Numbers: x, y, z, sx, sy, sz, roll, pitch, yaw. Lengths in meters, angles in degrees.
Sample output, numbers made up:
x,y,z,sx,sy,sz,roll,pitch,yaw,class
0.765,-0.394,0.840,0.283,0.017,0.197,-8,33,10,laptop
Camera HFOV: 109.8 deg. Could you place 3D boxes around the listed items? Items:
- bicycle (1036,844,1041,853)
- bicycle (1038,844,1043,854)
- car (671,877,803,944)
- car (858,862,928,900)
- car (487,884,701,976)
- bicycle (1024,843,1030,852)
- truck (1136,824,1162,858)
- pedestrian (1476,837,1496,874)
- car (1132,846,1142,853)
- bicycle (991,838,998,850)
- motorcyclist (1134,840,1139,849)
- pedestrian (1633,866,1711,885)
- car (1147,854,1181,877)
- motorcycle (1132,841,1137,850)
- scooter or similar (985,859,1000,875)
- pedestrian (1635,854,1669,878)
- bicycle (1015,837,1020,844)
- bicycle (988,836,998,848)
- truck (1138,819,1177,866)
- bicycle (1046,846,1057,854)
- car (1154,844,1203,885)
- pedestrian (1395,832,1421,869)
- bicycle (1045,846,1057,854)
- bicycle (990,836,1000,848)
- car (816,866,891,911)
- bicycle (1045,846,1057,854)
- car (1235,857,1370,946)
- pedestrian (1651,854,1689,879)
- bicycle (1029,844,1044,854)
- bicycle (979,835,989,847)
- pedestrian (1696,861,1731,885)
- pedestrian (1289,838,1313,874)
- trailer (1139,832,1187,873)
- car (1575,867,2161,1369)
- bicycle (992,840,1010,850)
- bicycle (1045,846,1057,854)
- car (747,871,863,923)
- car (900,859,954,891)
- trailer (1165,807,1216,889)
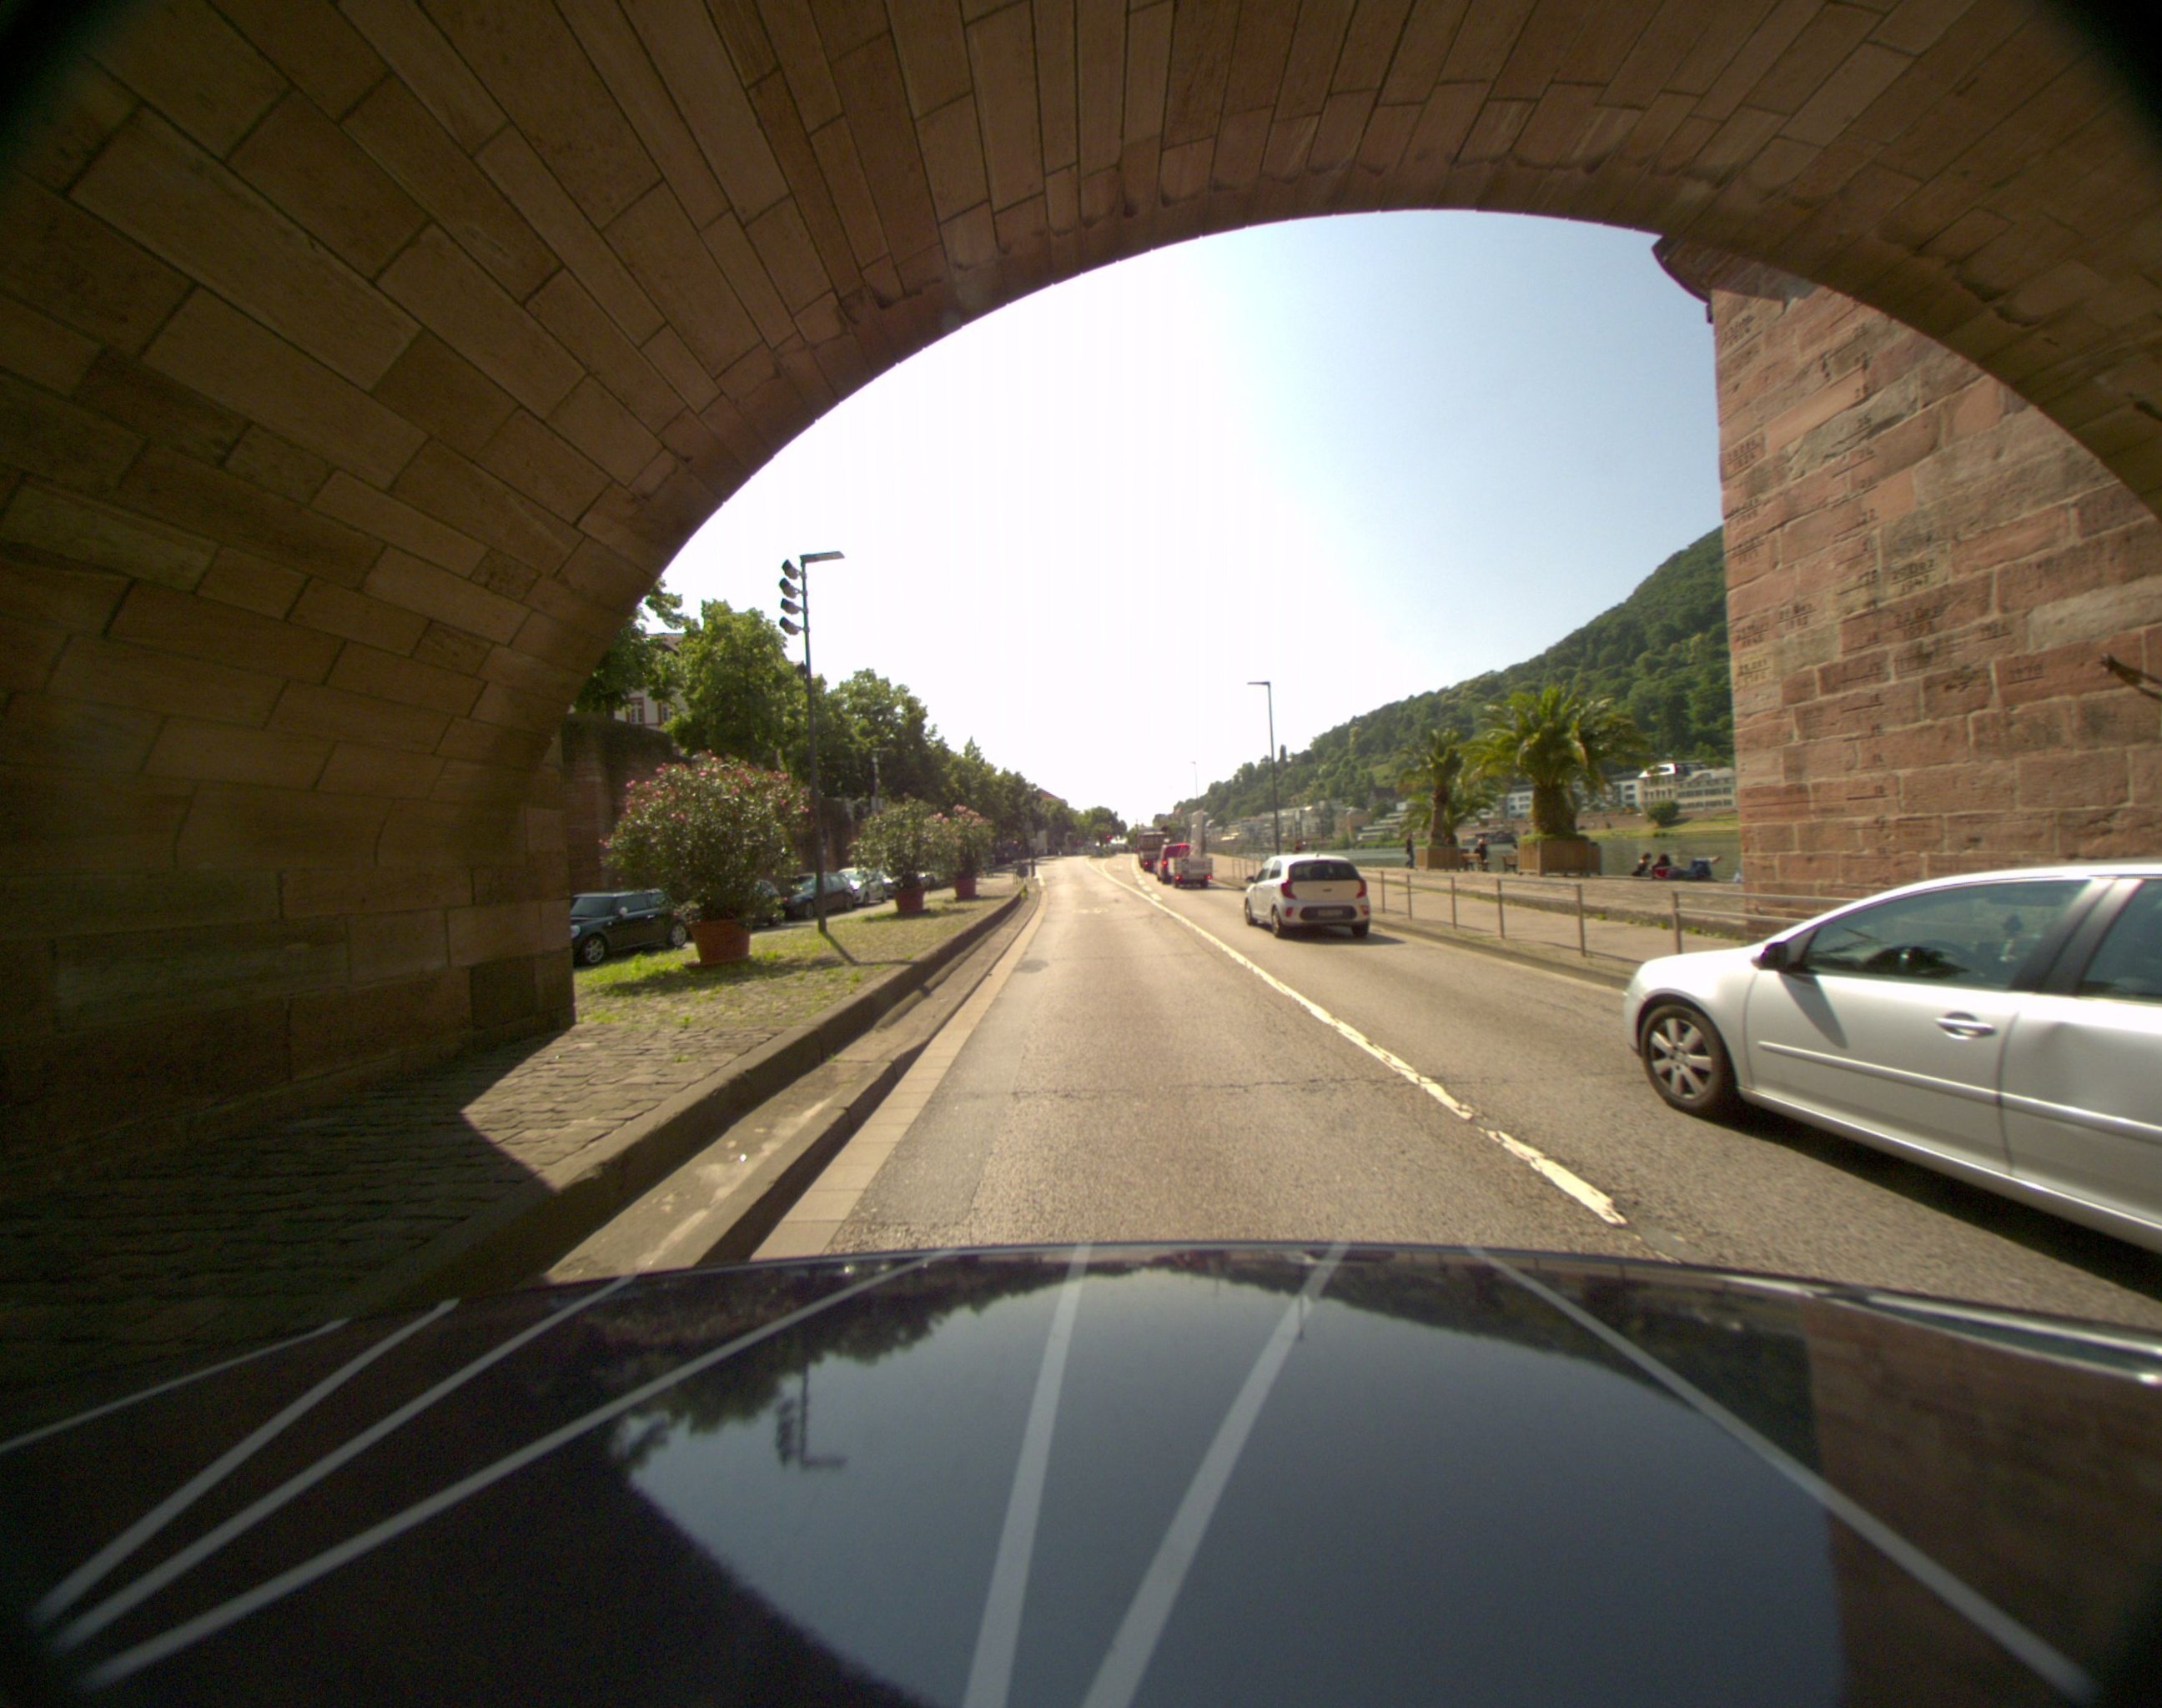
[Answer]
x,y,z,sx,sy,sz,roll,pitch,yaw,class
-5.814,-0.778,103.828,0.476,1.254,2.162,0,1,2,bicycle
-5.655,-0.712,106.084,0.476,1.254,2.162,0,1,2,bicycle
-9.399,1.496,21.090,1.498,1.476,3.717,-3,1,8,car
-8.577,1.200,35.072,1.758,1.424,4.756,-3,1,3,car
-10.306,1.541,16.463,1.594,1.512,3.905,-3,1,10,car
-6.628,-0.785,93.191,0.345,1.106,1.920,-2,1,8,bicycle
7.699,-1.479,85.828,2.648,3.456,11.109,-2,1,5,truck
17.649,0.065,33.105,0.594,1.592,0.681,-3,1,18,pedestrian
12.430,-1.023,169.954,1.998,1.444,4.261,-3,1,2,car
-8.889,-1.031,77.911,0.383,1.133,1.934,-2,0,3,bicycle
8.739,-1.486,118.963,0.703,1.518,0.861,-2,1,6,motorcyclist
14.793,0.534,19.076,0.646,0.419,1.742,-1,0,1,pedestrian
4.907,0.652,45.451,1.675,1.187,3.628,-1,1,1,car
8.375,-1.409,118.821,0.728,1.379,2.512,-2,1,6,motorcycle
-6.151,0.890,52.663,0.532,1.083,1.440,-2,1,13,scooter or similar
18.288,0.373,24.341,0.697,0.738,0.530,-3,1,5,pedestrian
-7.174,-1.562,85.824,0.350,0.779,1.919,-2,1,1,bicycle
-8.360,-1.133,72.095,0.411,1.099,1.735,-2,1,8,bicycle
5.961,-0.937,60.121,2.648,3.437,7.871,-1,1,3,truck
-4.541,-0.650,117.539,1.631,1.163,0.350,0,1,0,bicycle
4.670,0.471,37.040,1.879,1.817,4.544,-1,0,1,car
15.174,-0.153,35.281,0.795,1.682,0.846,-3,1,4,pedestrian
-4.525,-0.596,113.810,1.753,1.127,0.540,0,1,-3,bicycle
-8.335,-1.158,73.789,0.411,1.099,1.925,-2,1,8,bicycle
-8.839,1.301,29.810,1.715,1.449,3.547,-3,1,1,car
-4.576,-0.623,114.776,1.753,1.127,0.464,0,1,0,bicycle
4.138,0.817,14.752,1.538,1.428,3.728,-1,1,1,car
18.260,0.385,23.580,0.697,0.738,0.603,-3,1,5,pedestrian
-6.427,-0.749,110.048,2.160,1.360,0.584,0,1,4,bicycle
-8.651,-1.182,67.950,0.411,1.099,1.735,-1,1,8,bicycle
15.779,0.462,18.966,0.464,0.561,0.515,2,2,10,pedestrian
10.760,0.079,37.200,0.818,1.691,1.151,-3,1,1,pedestrian
5.445,-0.176,51.565,2.704,2.516,6.946,-1,2,2,trailer
4.134,0.828,2.857,1.727,1.428,4.400,-1,0,1,car
-8.460,-0.903,80.159,1.858,0.999,0.299,-2,1,1,bicycle
-4.570,-0.607,114.369,1.753,1.127,0.464,0,1,0,bicycle
-9.154,1.393,25.597,1.714,1.380,4.409,-1,1,9,car
-8.017,1.045,39.771,1.615,1.405,3.904,-3,1,6,car
4.618,-0.244,32.535,1.746,3.301,3.384,-1,1,2,trailer
